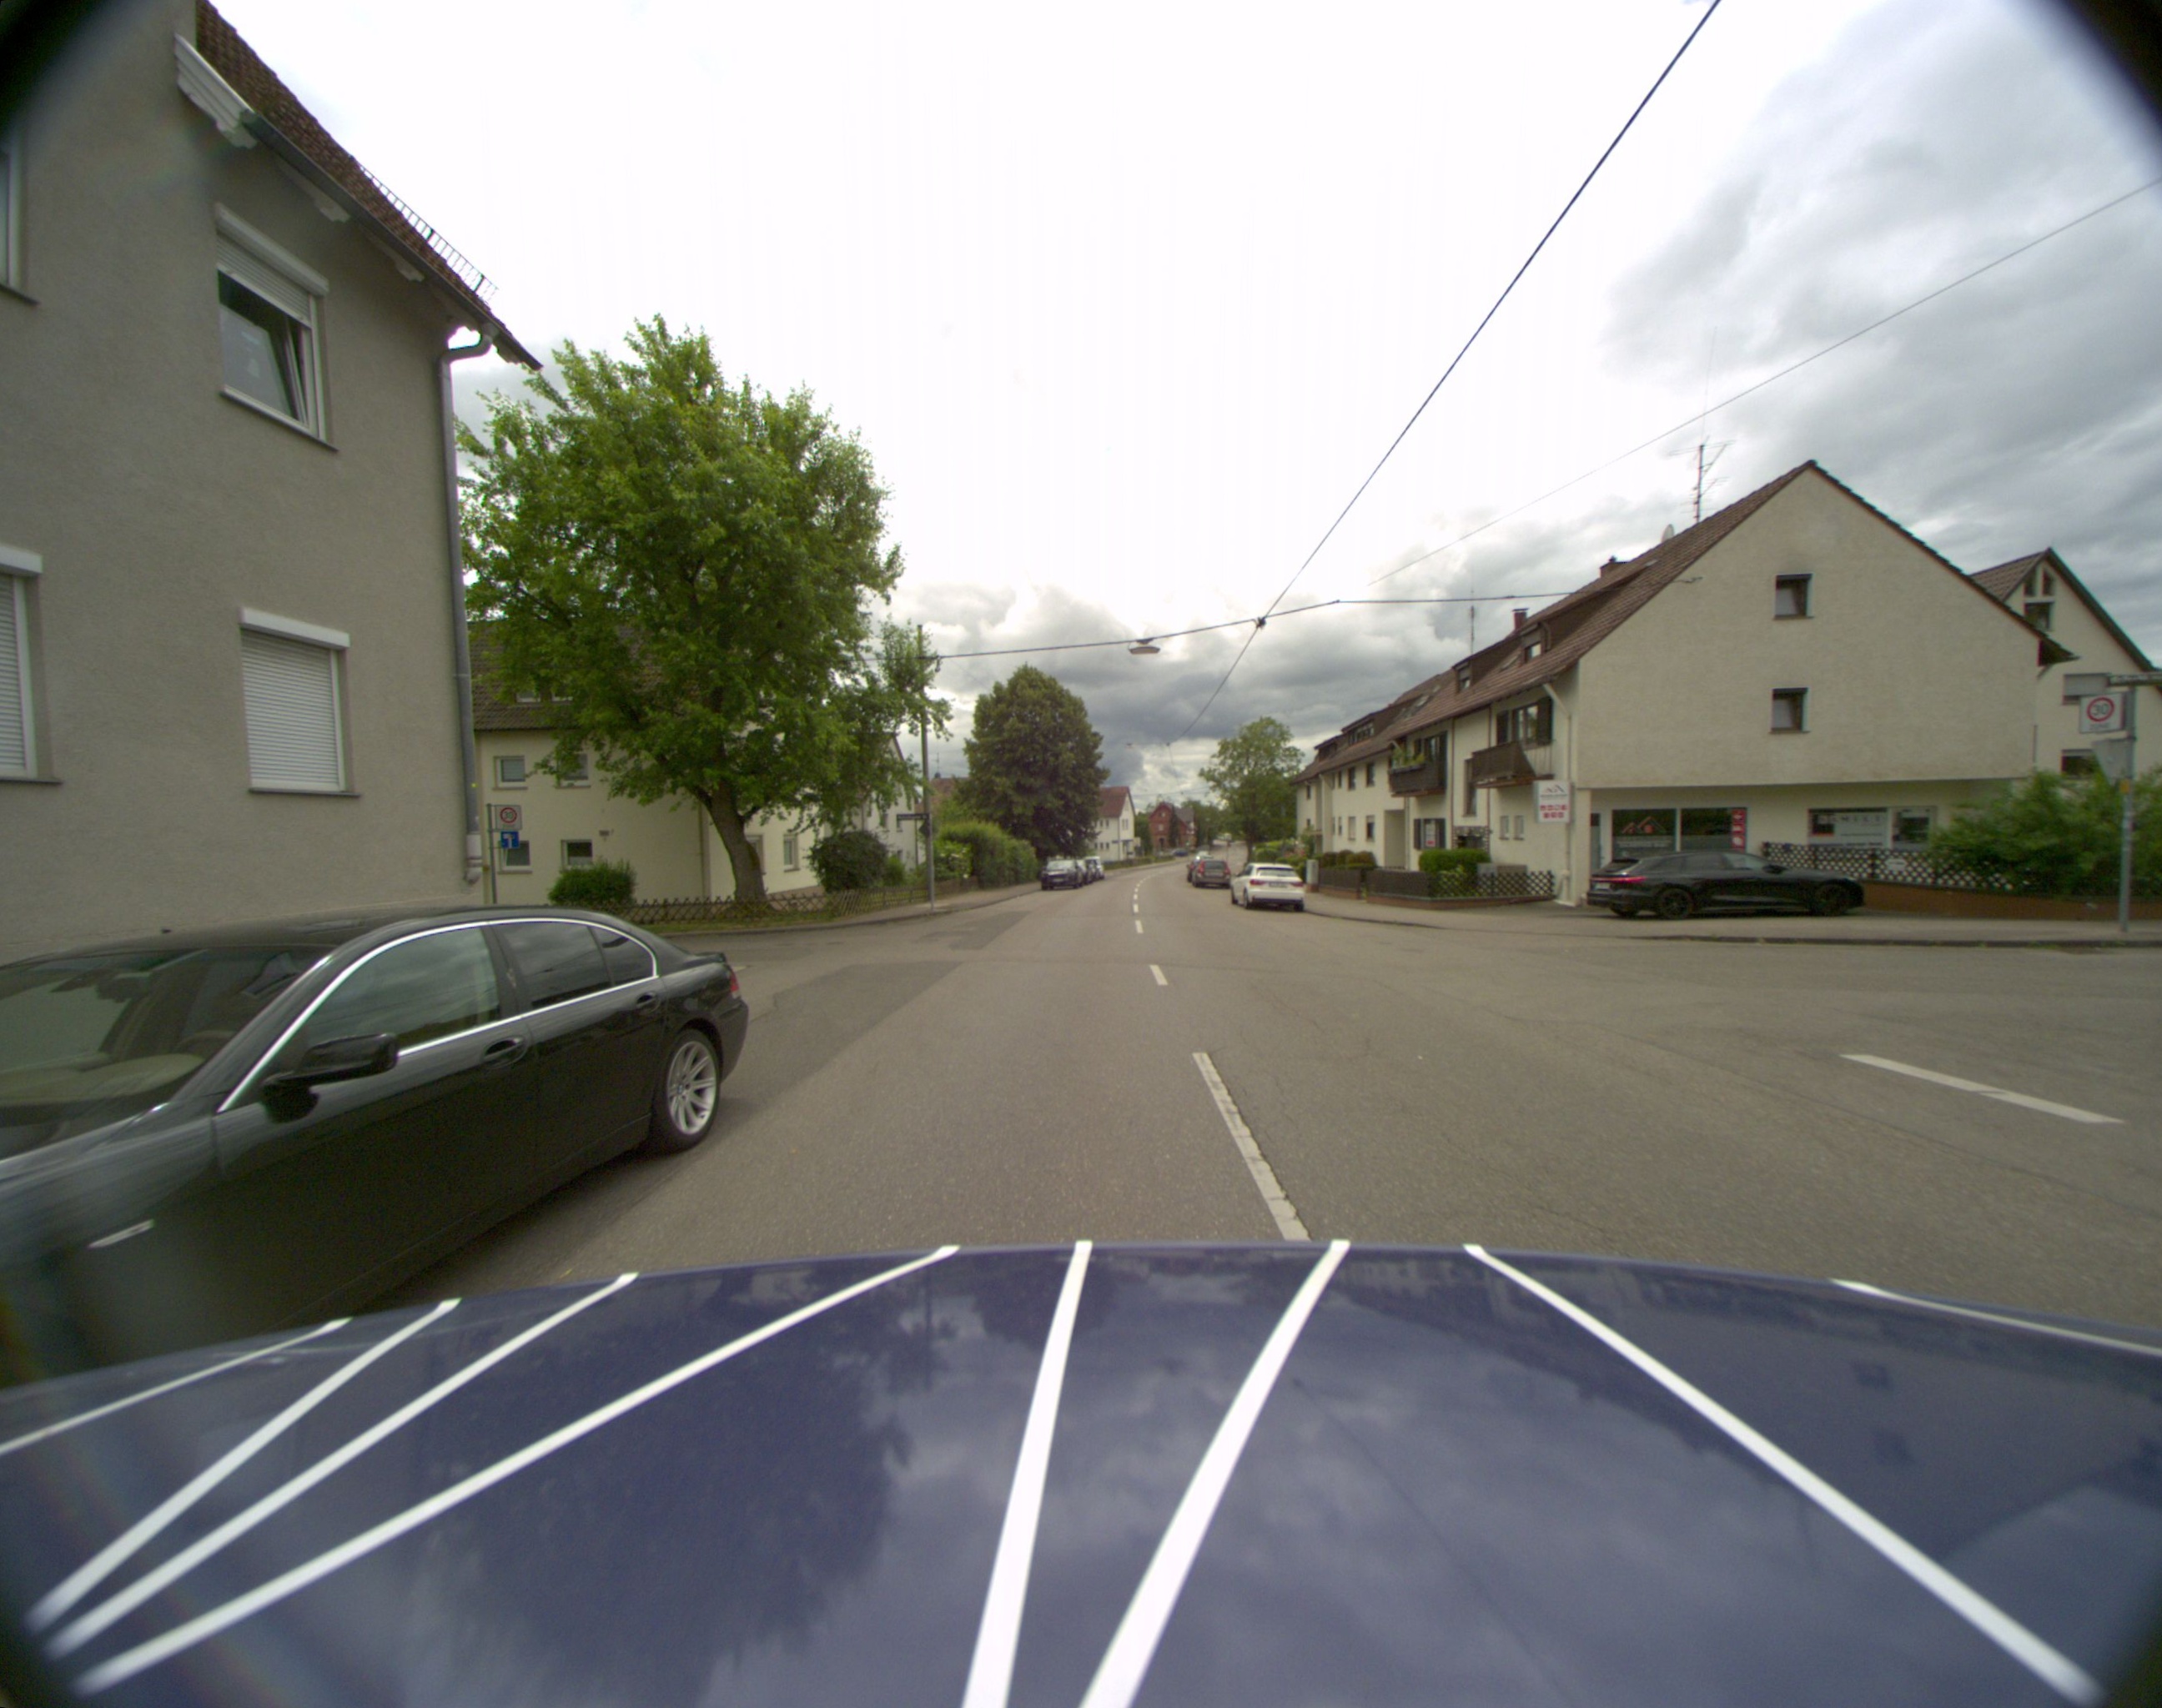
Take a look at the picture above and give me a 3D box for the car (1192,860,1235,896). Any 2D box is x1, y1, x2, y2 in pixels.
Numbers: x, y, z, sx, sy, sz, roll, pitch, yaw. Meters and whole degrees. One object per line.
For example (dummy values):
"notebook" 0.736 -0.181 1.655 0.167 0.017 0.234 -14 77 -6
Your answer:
"car" 6.988 1.200 40.449 1.850 1.670 4.788 2 1 6

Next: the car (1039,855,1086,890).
"car" -0.891 0.904 39.732 1.814 1.606 4.541 -3 0 5

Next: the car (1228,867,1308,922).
"car" 5.810 1.197 24.010 1.730 1.450 3.899 2 0 3

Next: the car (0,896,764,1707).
"car" -3.275 1.096 2.822 1.998 1.509 4.892 -3 0 1

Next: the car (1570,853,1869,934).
"car" 13.456 0.808 16.292 4.527 1.463 2.001 -2 0 6

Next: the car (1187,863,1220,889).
"car" 7.641 1.330 47.727 1.766 1.430 4.080 3 0 6

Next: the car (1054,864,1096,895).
"car" -0.306 1.495 45.814 1.998 1.606 4.541 -3 0 5

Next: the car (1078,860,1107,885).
"car" 0.907 1.359 57.604 1.842 1.763 4.319 -4 -1 4

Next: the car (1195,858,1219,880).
"car" 10.802 1.237 64.991 1.852 1.704 4.578 1 1 11
